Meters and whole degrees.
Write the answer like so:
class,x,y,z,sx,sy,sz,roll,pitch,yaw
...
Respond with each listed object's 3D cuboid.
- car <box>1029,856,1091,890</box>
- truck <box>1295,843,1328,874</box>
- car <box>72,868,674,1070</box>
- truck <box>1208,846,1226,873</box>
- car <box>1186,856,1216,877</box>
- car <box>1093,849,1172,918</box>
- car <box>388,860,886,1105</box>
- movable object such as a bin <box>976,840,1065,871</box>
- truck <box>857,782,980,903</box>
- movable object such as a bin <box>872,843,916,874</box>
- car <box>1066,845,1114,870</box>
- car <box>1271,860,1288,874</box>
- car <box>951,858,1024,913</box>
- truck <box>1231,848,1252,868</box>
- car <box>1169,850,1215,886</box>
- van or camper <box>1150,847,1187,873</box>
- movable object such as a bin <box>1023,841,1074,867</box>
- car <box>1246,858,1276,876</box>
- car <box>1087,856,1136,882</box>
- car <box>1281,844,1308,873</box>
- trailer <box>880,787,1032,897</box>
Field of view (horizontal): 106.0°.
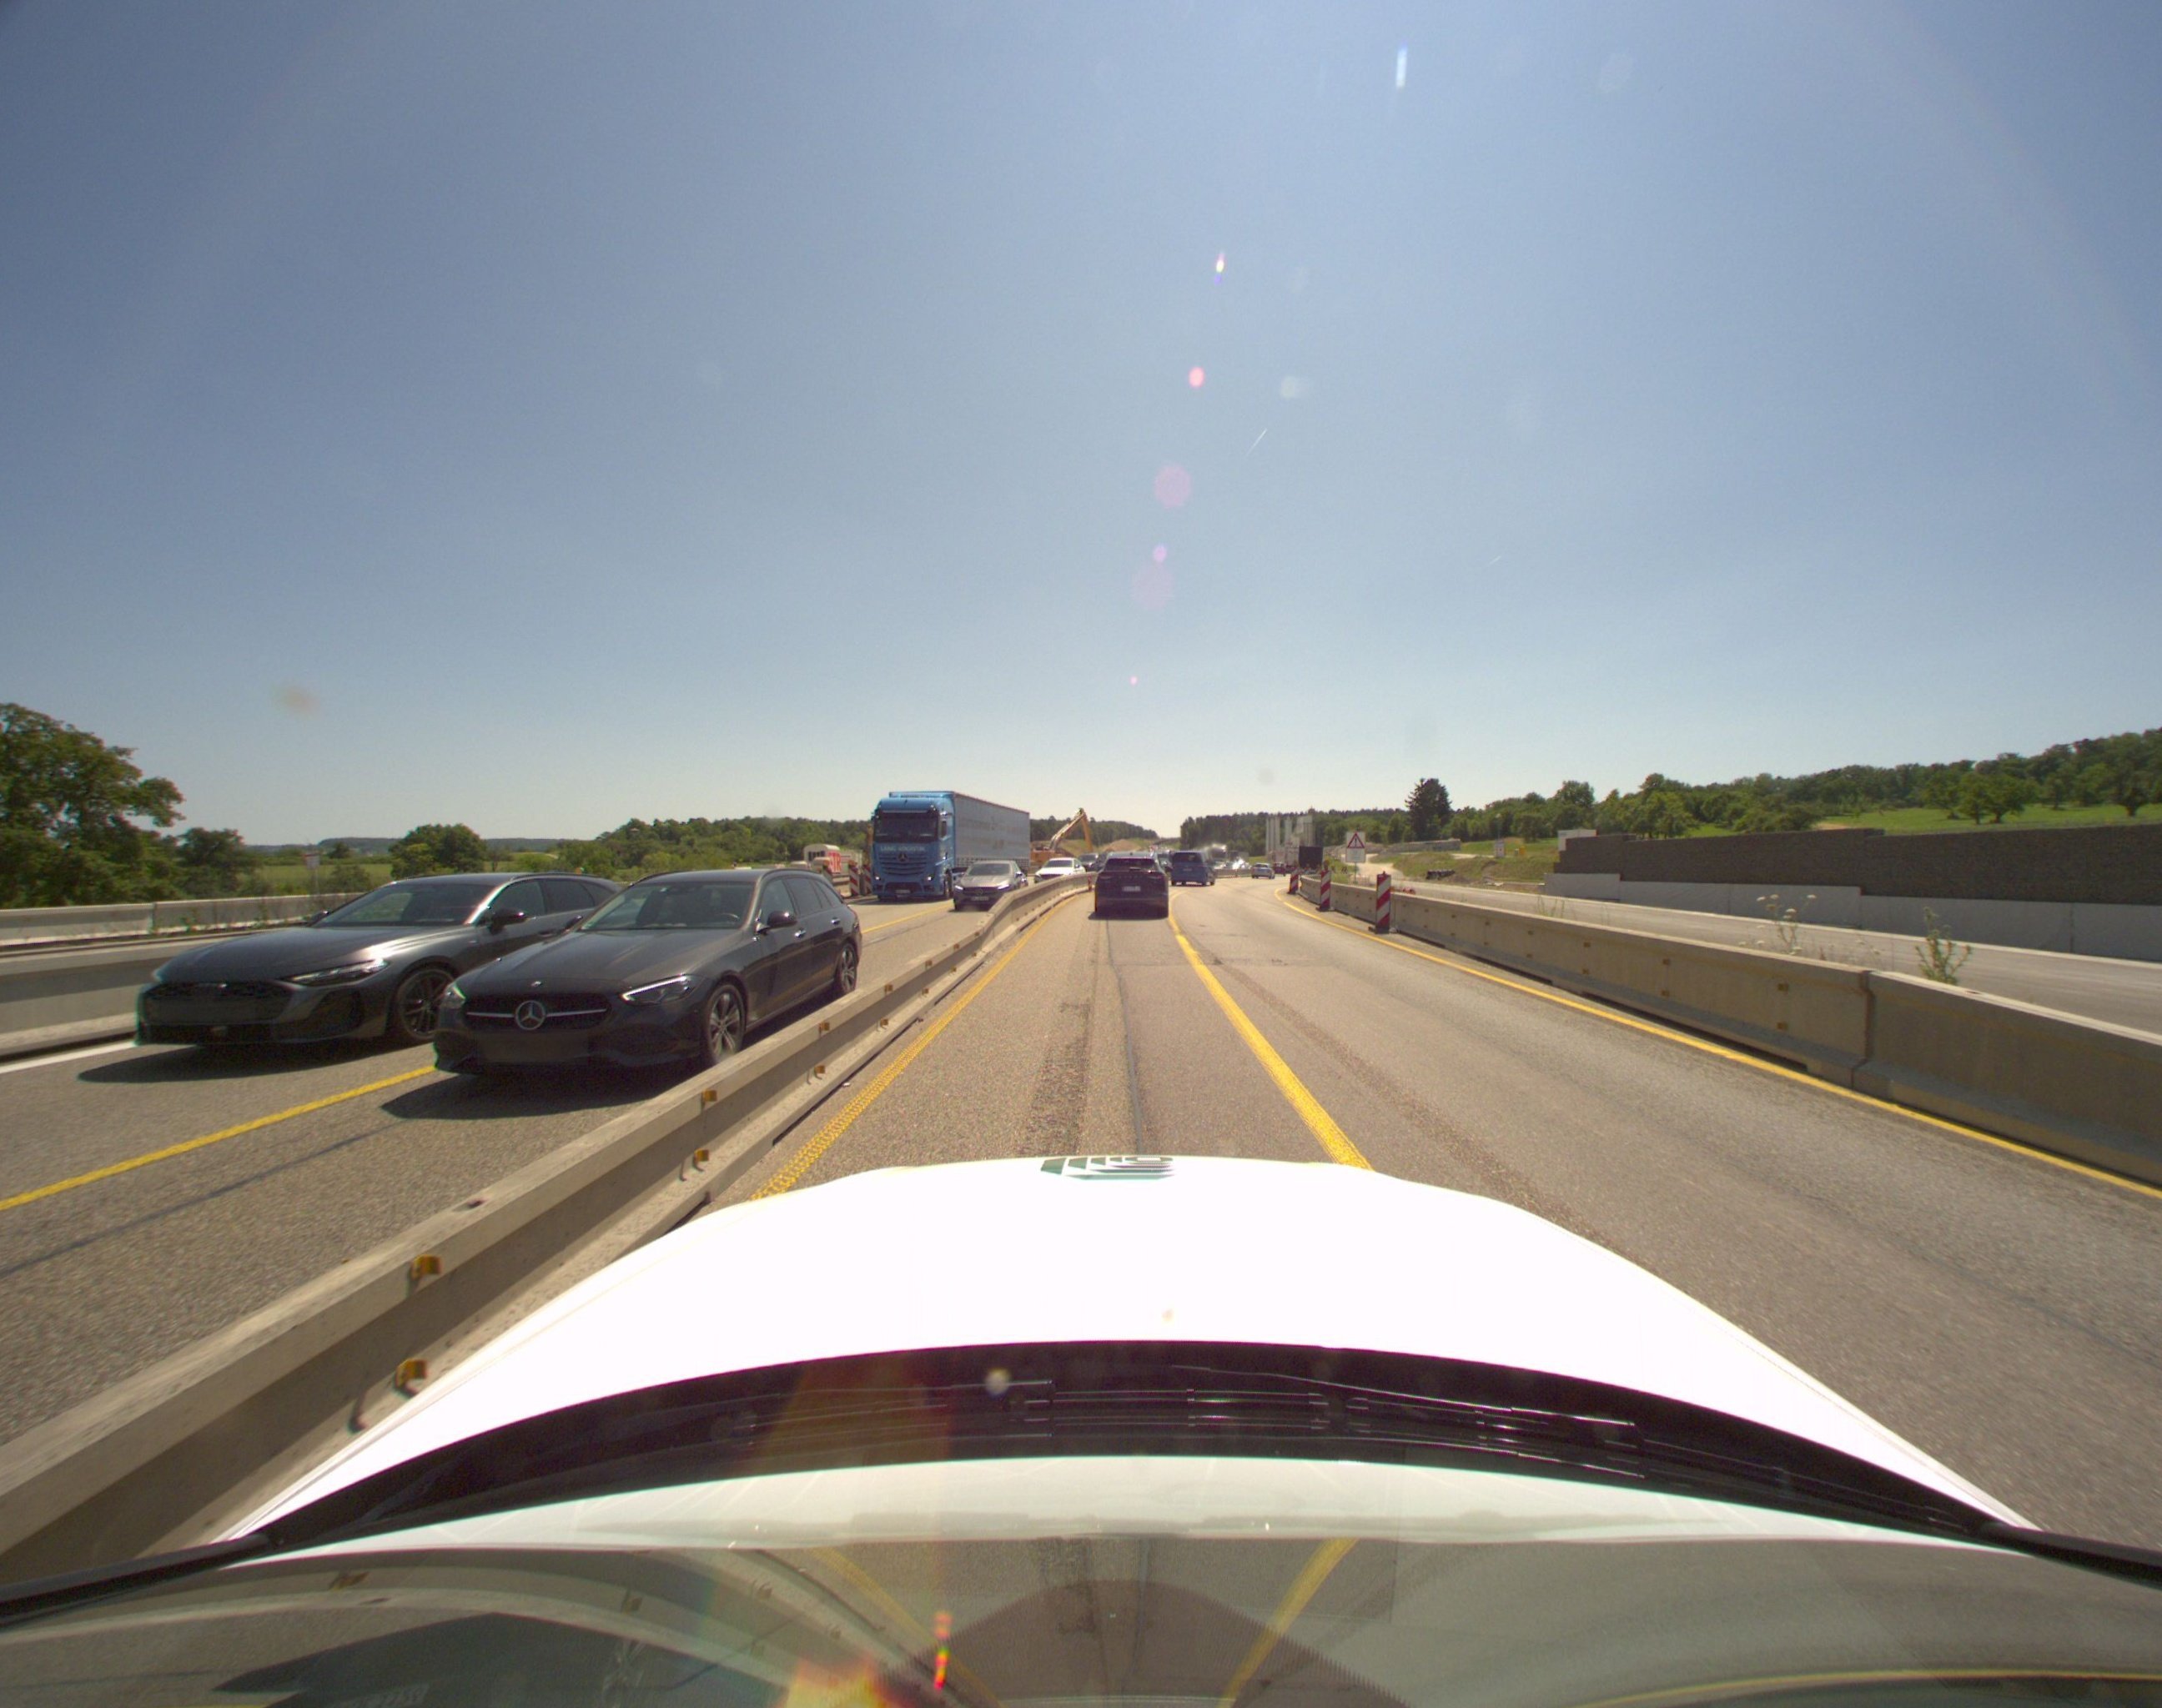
class,x,y,z,sx,sy,sz,roll,pitch,yaw
car,-0.930,0.868,39.091,2.003,1.444,4.602,-1,1,10
truck,22.857,0.437,80.702,2.650,2.946,5.648,0,-1,20
car,-6.461,0.897,8.379,1.985,1.399,4.585,0,0,4
truck,22.311,0.937,133.799,2.755,4.260,6.213,1,0,8
car,11.427,1.168,77.145,1.857,1.873,5.082,2,-1,19
car,1.295,0.680,21.175,1.835,1.582,4.003,1,0,2
car,-3.373,0.828,7.509,1.767,1.427,4.773,-2,0,2
movable object such as a bin,-5.718,0.104,76.031,7.829,2.432,3.741,3,0,39
truck,-5.965,-0.409,30.981,2.900,4.128,6.147,-1,0,5
movable object such as a bin,-17.654,0.434,76.828,2.893,2.727,3.324,2,0,-38
car,0.751,0.238,60.947,1.759,1.765,4.737,-2,-1,25
car,24.186,1.573,99.216,1.807,1.644,3.882,1,0,17
car,-2.781,0.901,25.020,1.583,1.441,4.127,-2,0,2
truck,37.820,0.934,192.615,3.459,4.220,10.391,5,1,5
car,6.137,0.731,44.726,1.979,1.844,4.016,1,0,15
van or camper,8.761,0.616,80.899,2.081,2.541,6.337,-1,-1,21
movable object such as a bin,-3.399,0.048,86.075,3.263,2.440,5.468,4,0,22
car,16.817,1.185,75.910,2.028,1.526,5.091,-1,0,20
car,1.999,0.928,52.103,1.753,1.607,4.733,-1,-1,20
car,32.776,0.682,125.435,3.413,4.100,9.229,4,0,13
trailer,-5.147,-0.498,37.735,2.897,4.128,13.949,-1,0,8
